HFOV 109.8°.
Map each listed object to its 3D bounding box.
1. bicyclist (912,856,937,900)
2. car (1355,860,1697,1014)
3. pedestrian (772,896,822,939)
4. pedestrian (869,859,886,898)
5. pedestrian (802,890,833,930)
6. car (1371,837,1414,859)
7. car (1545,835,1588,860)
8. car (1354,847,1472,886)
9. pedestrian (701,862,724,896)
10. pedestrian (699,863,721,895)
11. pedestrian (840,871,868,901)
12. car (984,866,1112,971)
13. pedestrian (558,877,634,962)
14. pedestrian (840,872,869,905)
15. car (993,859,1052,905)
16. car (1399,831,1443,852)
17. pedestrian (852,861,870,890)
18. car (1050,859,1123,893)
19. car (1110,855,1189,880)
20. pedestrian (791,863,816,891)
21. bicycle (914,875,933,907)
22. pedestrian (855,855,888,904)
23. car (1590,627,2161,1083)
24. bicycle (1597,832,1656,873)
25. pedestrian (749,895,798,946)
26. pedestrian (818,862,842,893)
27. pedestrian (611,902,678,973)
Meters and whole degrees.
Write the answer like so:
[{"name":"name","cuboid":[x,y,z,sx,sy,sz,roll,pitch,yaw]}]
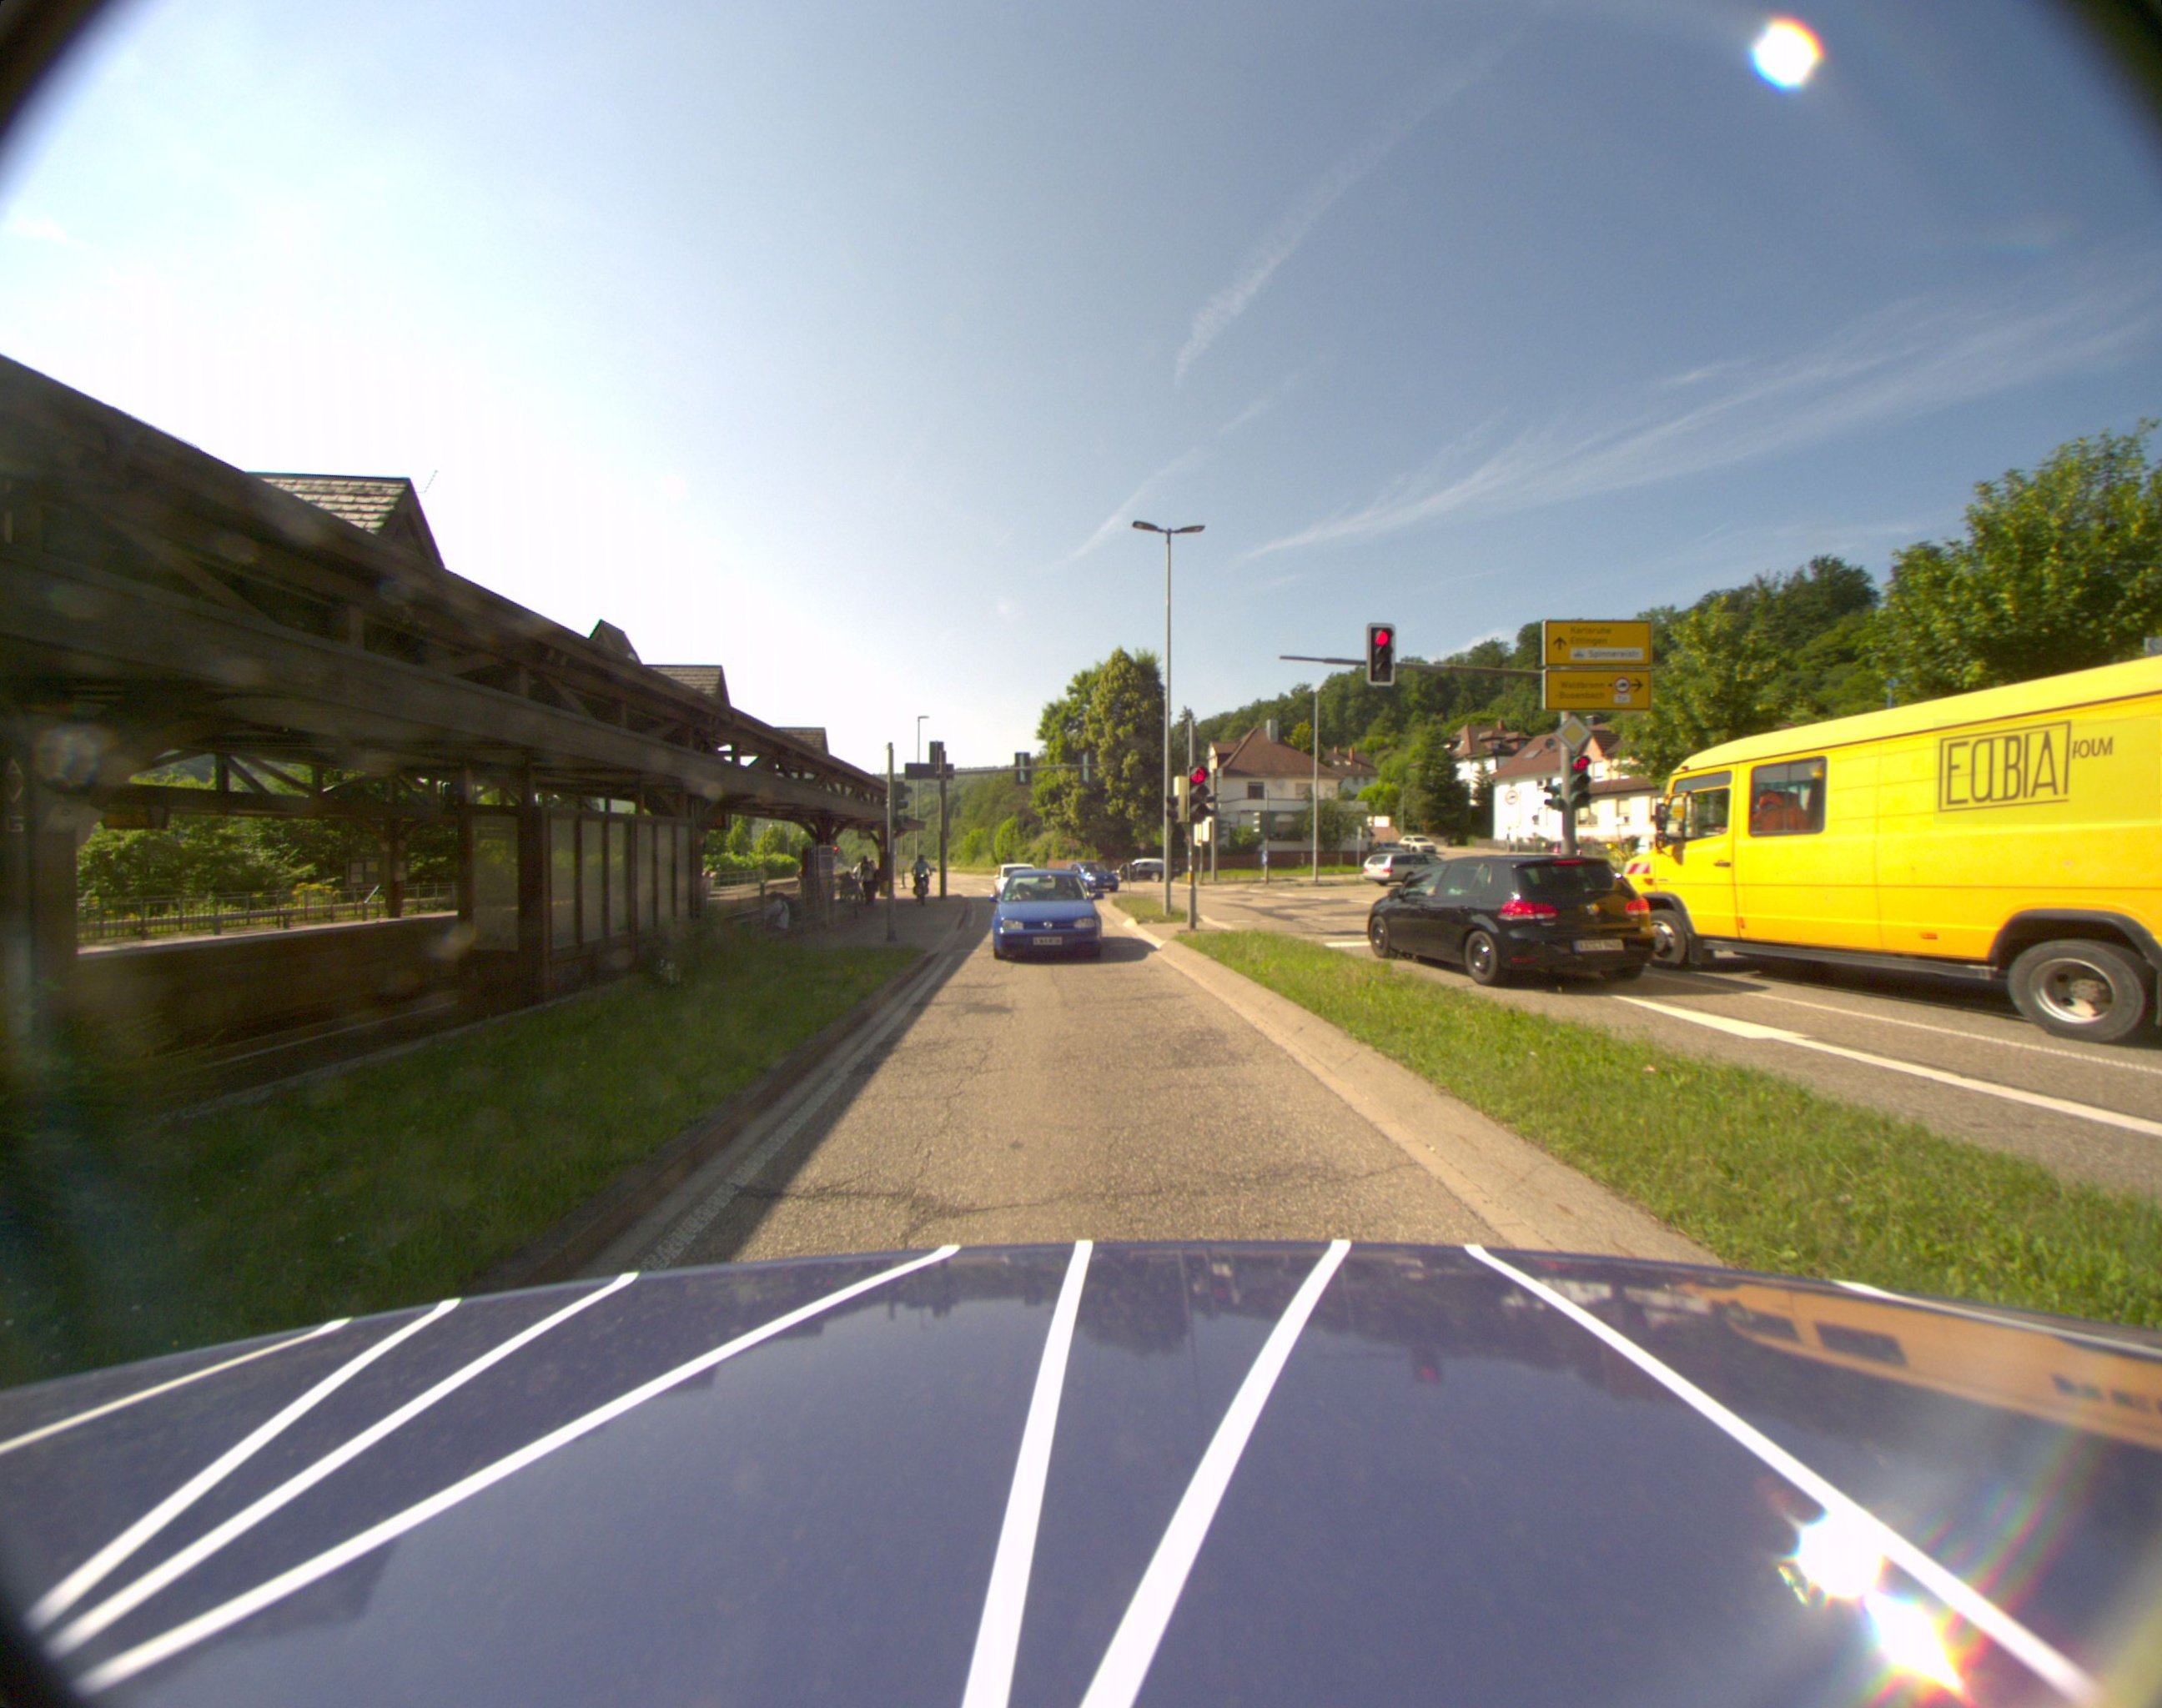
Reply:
[{"name":"bicyclist","cuboid":[-5.711,0.869,27.745,0.787,1.559,0.946,-3,1,-11]},{"name":"car","cuboid":[5.106,0.825,9.475,1.750,1.454,4.042,-1,0,-3]},{"name":"pedestrian","cuboid":[-6.437,1.423,17.248,0.847,0.869,0.807,-3,-1,-7]},{"name":"pedestrian","cuboid":[-8.884,1.069,33.142,0.659,1.682,0.738,-1,0,-13]},{"name":"pedestrian","cuboid":[-6.558,1.391,18.948,0.619,0.960,0.406,-3,-1,-7]},{"name":"car","cuboid":[25.829,-0.477,63.142,1.939,1.627,4.001,-3,-1,2]},{"name":"car","cuboid":[31.386,-0.380,49.226,1.658,1.525,3.962,-2,-1,23]},{"name":"car","cuboid":[14.682,0.556,33.630,4.755,1.495,1.977,-2,-1,-22]},{"name":"pedestrian","cuboid":[-20.975,1.414,43.275,0.904,1.838,0.822,-3,-1,-11]},{"name":"pedestrian","cuboid":[-21.880,1.491,44.799,0.904,1.838,0.822,-3,-1,-11]},{"name":"pedestrian","cuboid":[-9.079,1.278,30.450,1.010,1.153,0.947,-2,1,-13]},{"name":"car","cuboid":[-0.561,0.991,13.413,1.865,1.474,4.301,-1,0,-2]},{"name":"pedestrian","cuboid":[-9.186,1.211,14.429,0.863,1.538,0.922,-1,-1,-5]},{"name":"pedestrian","cuboid":[-8.720,1.317,29.266,0.994,1.228,0.596,-3,-1,-14]},{"name":"car","cuboid":[-2.351,1.027,29.667,2.000,1.575,3.998,-3,0,-7]},{"name":"car","cuboid":[29.856,-1.040,66.853,1.999,1.597,4.000,-3,-1,-1]},{"name":"pedestrian","cuboid":[-12.855,1.261,44.441,0.823,1.674,0.902,-3,-1,-24]},{"name":"car","cuboid":[0.209,1.037,37.373,1.983,1.495,3.978,-1,0,-27]},{"name":"car","cuboid":[4.467,0.895,49.802,4.738,1.475,1.985,-3,-1,36]},{"name":"pedestrian","cuboid":[-17.197,1.422,47.057,0.902,1.674,1.126,-3,-1,13]},{"name":"bicycle","cuboid":[-5.744,1.333,27.732,0.604,1.049,1.812,-3,0,-11]},{"name":"pedestrian","cuboid":[-7.819,0.948,28.416,0.916,1.726,1.251,-3,-1,-6]},{"name":"car","cuboid":[8.228,-0.038,6.966,2.474,2.993,6.464,-3,0,-3]},{"name":"bicycle","cuboid":[18.299,-0.017,25.517,0.620,1.247,1.758,-6,-2,2]},{"name":"pedestrian","cuboid":[-6.422,1.369,15.900,0.744,0.976,0.769,-3,-1,-7]},{"name":"pedestrian","cuboid":[-15.547,1.446,47.010,0.989,1.831,1.074,-2,-1,7]},{"name":"pedestrian","cuboid":[-7.498,1.424,13.079,0.744,1.110,0.667,-3,-1,-7]}]
